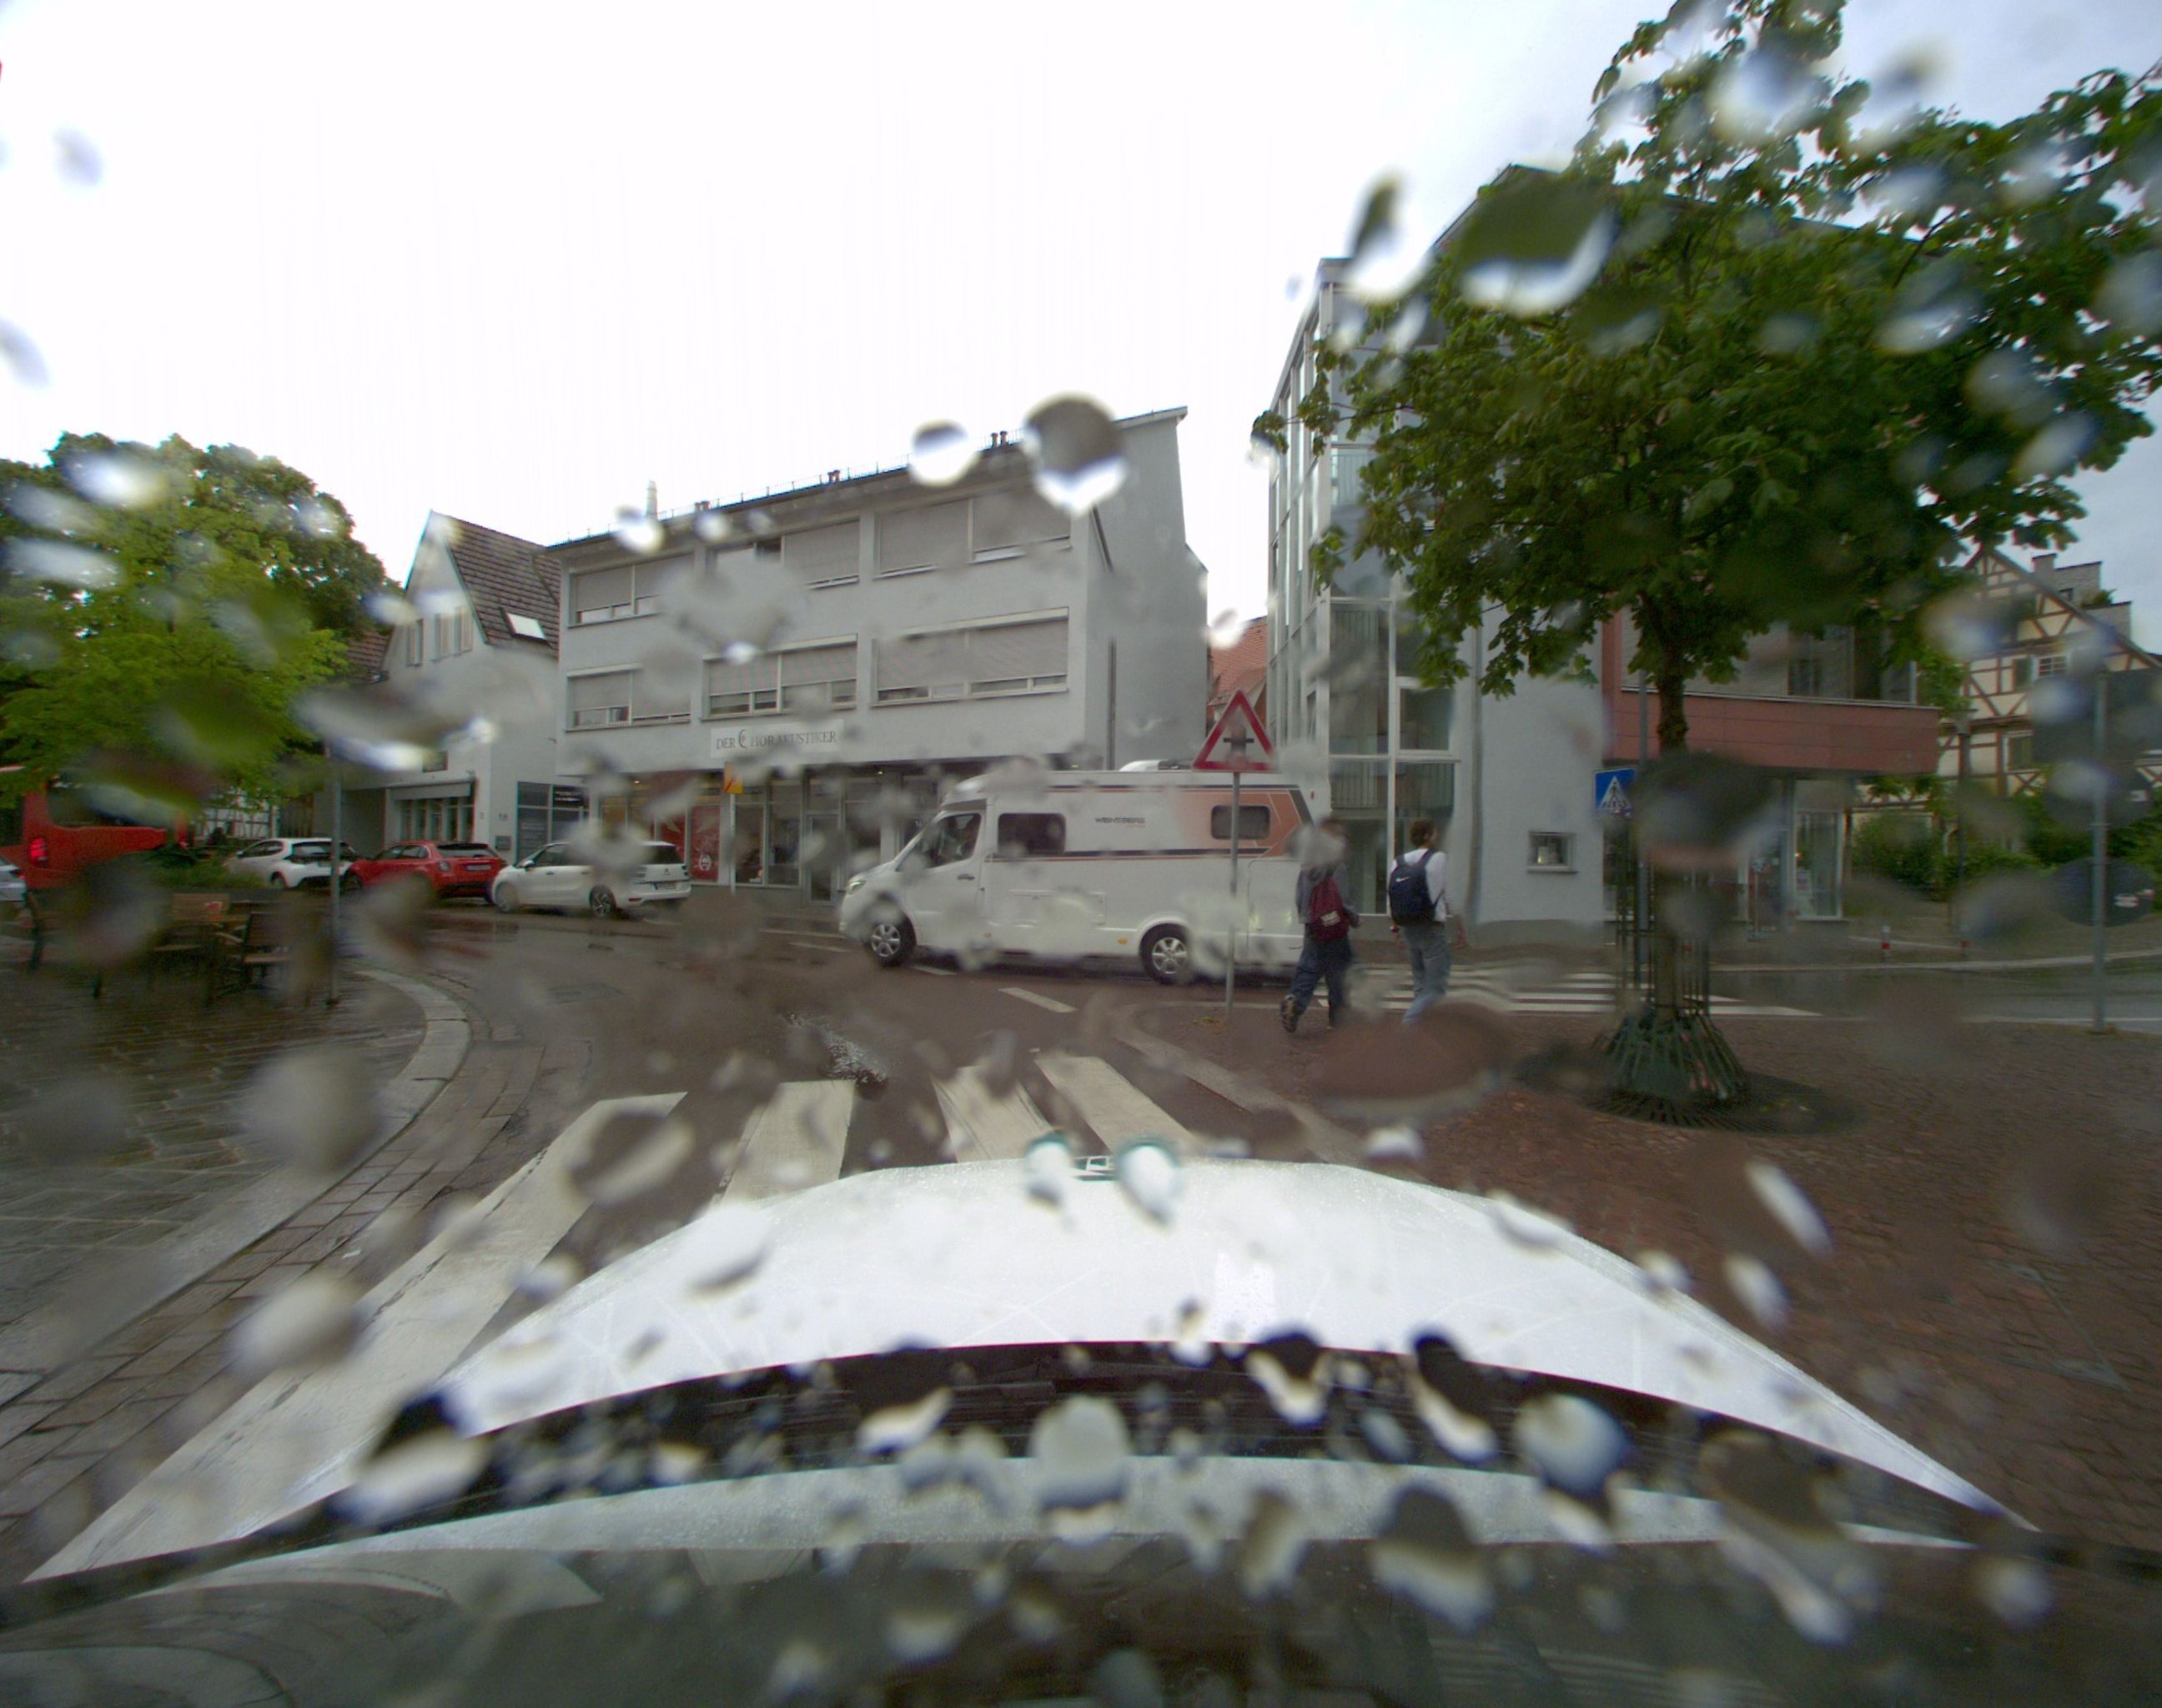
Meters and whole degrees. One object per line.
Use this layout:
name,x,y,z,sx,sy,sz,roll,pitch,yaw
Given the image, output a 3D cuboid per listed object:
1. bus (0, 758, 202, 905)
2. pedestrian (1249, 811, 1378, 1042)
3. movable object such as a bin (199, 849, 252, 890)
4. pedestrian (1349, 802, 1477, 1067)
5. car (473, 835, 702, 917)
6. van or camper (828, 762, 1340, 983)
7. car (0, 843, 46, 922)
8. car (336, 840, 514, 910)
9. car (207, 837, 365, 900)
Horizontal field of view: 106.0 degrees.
bus,-26.858,-0.597,19.581,10.500,3.088,2.832,1,2,13
pedestrian,2.009,0.571,6.981,0.685,1.800,1.065,0,-1,40
movable object such as a bin,-23.864,0.426,22.717,0.555,1.112,0.839,0,-1,18
pedestrian,2.541,0.554,6.181,0.657,1.807,1.068,0,-1,36
car,-10.714,0.431,17.723,4.419,1.631,1.790,0,0,18
van or camper,0.108,0.177,11.545,6.680,2.585,2.455,1,0,15
car,-21.535,0.461,14.796,3.941,1.415,1.732,1,-2,12
car,-15.796,0.433,19.616,3.754,1.528,1.691,1,1,22
car,-21.228,0.335,21.739,3.753,1.528,1.692,1,1,23
